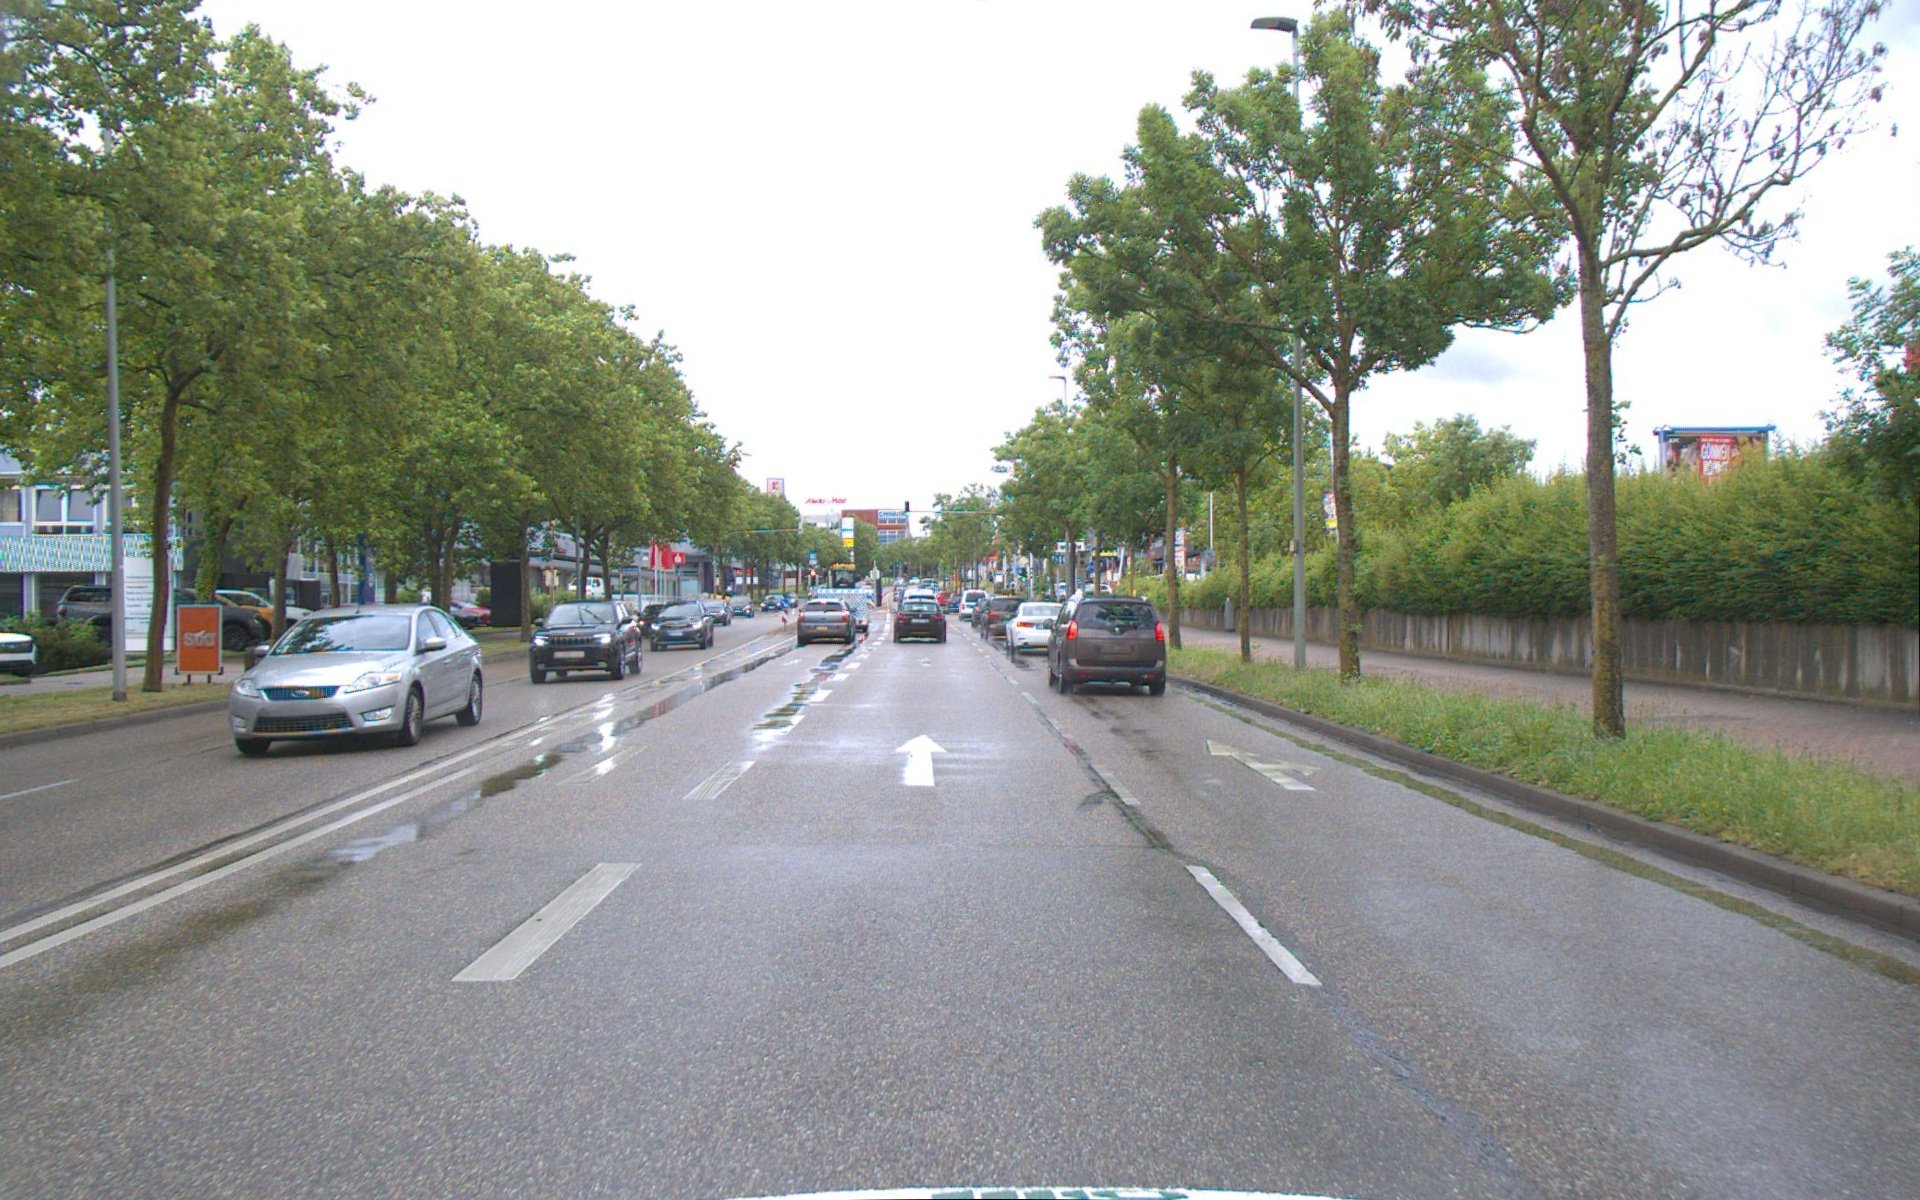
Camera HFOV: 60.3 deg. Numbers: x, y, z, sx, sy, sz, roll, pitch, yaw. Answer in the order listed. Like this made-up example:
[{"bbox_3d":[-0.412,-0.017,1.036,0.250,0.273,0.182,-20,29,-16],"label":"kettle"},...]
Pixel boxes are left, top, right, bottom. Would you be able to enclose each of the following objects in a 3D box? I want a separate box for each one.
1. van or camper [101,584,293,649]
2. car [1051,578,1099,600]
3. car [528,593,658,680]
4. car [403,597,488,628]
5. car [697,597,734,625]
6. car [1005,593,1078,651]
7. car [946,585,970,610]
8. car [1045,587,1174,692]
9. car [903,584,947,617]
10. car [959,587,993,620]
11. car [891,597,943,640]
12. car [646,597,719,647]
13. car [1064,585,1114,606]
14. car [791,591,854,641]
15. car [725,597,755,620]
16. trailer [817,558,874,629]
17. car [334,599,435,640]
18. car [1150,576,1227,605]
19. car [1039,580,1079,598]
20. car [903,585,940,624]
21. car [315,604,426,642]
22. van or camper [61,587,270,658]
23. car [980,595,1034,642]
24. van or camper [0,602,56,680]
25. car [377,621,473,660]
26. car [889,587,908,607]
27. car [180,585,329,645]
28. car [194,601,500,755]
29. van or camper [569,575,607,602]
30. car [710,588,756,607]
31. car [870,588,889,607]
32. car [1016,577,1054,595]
[{"bbox_3d":[-23.525,0.505,51.197,5.289,1.801,2.088,-1,-3,-25],"label":"van or camper"},{"bbox_3d":[10.069,-0.947,144.856,3.993,1.691,1.952,-4,2,-42],"label":"car"},{"bbox_3d":[-7.207,0.678,32.815,1.727,1.558,3.857,-2,0,-1],"label":"car"},{"bbox_3d":[-26.929,0.636,86.703,3.903,1.515,1.876,-1,0,-7],"label":"car"},{"bbox_3d":[-13.682,0.595,92.693,1.676,1.490,4.082,-2,0,-3],"label":"car"},{"bbox_3d":[2.287,0.599,47.654,1.765,1.571,4.619,1,0,-1],"label":"car"},{"bbox_3d":[-0.164,-0.166,116.803,1.650,1.713,3.402,1,-1,-1],"label":"car"},{"bbox_3d":[2.503,0.622,28.566,1.691,1.652,4.469,-1,0,-2],"label":"car"},{"bbox_3d":[-1.586,0.020,73.369,1.649,1.401,3.996,-1,0,-5],"label":"car"},{"bbox_3d":[0.934,0.180,98.399,1.746,1.899,3.998,-1,0,-2],"label":"car"},{"bbox_3d":[-1.507,0.616,57.630,1.746,1.422,3.998,0,0,-2],"label":"car"},{"bbox_3d":[-8.806,0.668,52.689,1.632,1.487,4.180,-2,0,-1],"label":"car"},{"bbox_3d":[10.337,-0.344,132.294,1.896,1.604,4.267,-1,1,39],"label":"car"},{"bbox_3d":[-4.677,0.520,56.913,1.868,1.606,4.879,-1,0,-2],"label":"car"},{"bbox_3d":[-15.052,0.547,113.230,1.676,1.490,4.082,-2,0,-3],"label":"car"},{"bbox_3d":[-4.945,-0.277,72.070,2.325,2.947,5.542,-1,0,-3],"label":"trailer"},{"bbox_3d":[-26.421,0.887,75.916,4.166,1.682,1.996,-2,0,-26],"label":"car"},{"bbox_3d":[12.268,-0.522,89.065,3.905,1.467,1.655,-1,0,0],"label":"car"},{"bbox_3d":[9.022,-0.975,150.568,3.568,1.563,1.619,-1,1,-42],"label":"car"},{"bbox_3d":[-2.139,0.245,90.810,1.953,2.049,3.998,1,-1,-2],"label":"car"},{"bbox_3d":[-25.885,0.980,72.647,4.495,1.624,1.985,0,0,-25],"label":"car"},{"bbox_3d":[-22.497,0.605,46.951,5.221,1.853,2.246,-1,0,-28],"label":"van or camper"},{"bbox_3d":[1.717,0.657,61.846,1.765,1.614,4.450,1,1,-1],"label":"car"},{"bbox_3d":[-24.539,1.003,40.475,4.538,1.815,1.838,-1,0,23],"label":"van or camper"},{"bbox_3d":[-25.816,1.950,79.859,4.166,1.623,1.984,-2,1,-26],"label":"car"},{"bbox_3d":[-6.472,-0.286,174.861,1.953,2.049,3.999,1,-1,-1],"label":"car"},{"bbox_3d":[-23.166,0.474,54.363,4.396,1.847,1.985,-1,0,-25],"label":"car"},{"bbox_3d":[-6.698,0.767,18.675,1.954,1.454,4.681,-2,0,-4],"label":"car"},{"bbox_3d":[-28.933,-0.884,128.702,1.953,2.001,4.786,1,-1,-2],"label":"van or camper"},{"bbox_3d":[-20.679,-0.228,150.601,3.915,1.579,1.895,-1,1,33],"label":"car"},{"bbox_3d":[-8.894,-0.260,182.259,1.953,2.049,3.999,1,-1,-1],"label":"car"},{"bbox_3d":[8.197,-1.539,180.046,4.027,1.938,1.799,-1,1,-1],"label":"car"}]
